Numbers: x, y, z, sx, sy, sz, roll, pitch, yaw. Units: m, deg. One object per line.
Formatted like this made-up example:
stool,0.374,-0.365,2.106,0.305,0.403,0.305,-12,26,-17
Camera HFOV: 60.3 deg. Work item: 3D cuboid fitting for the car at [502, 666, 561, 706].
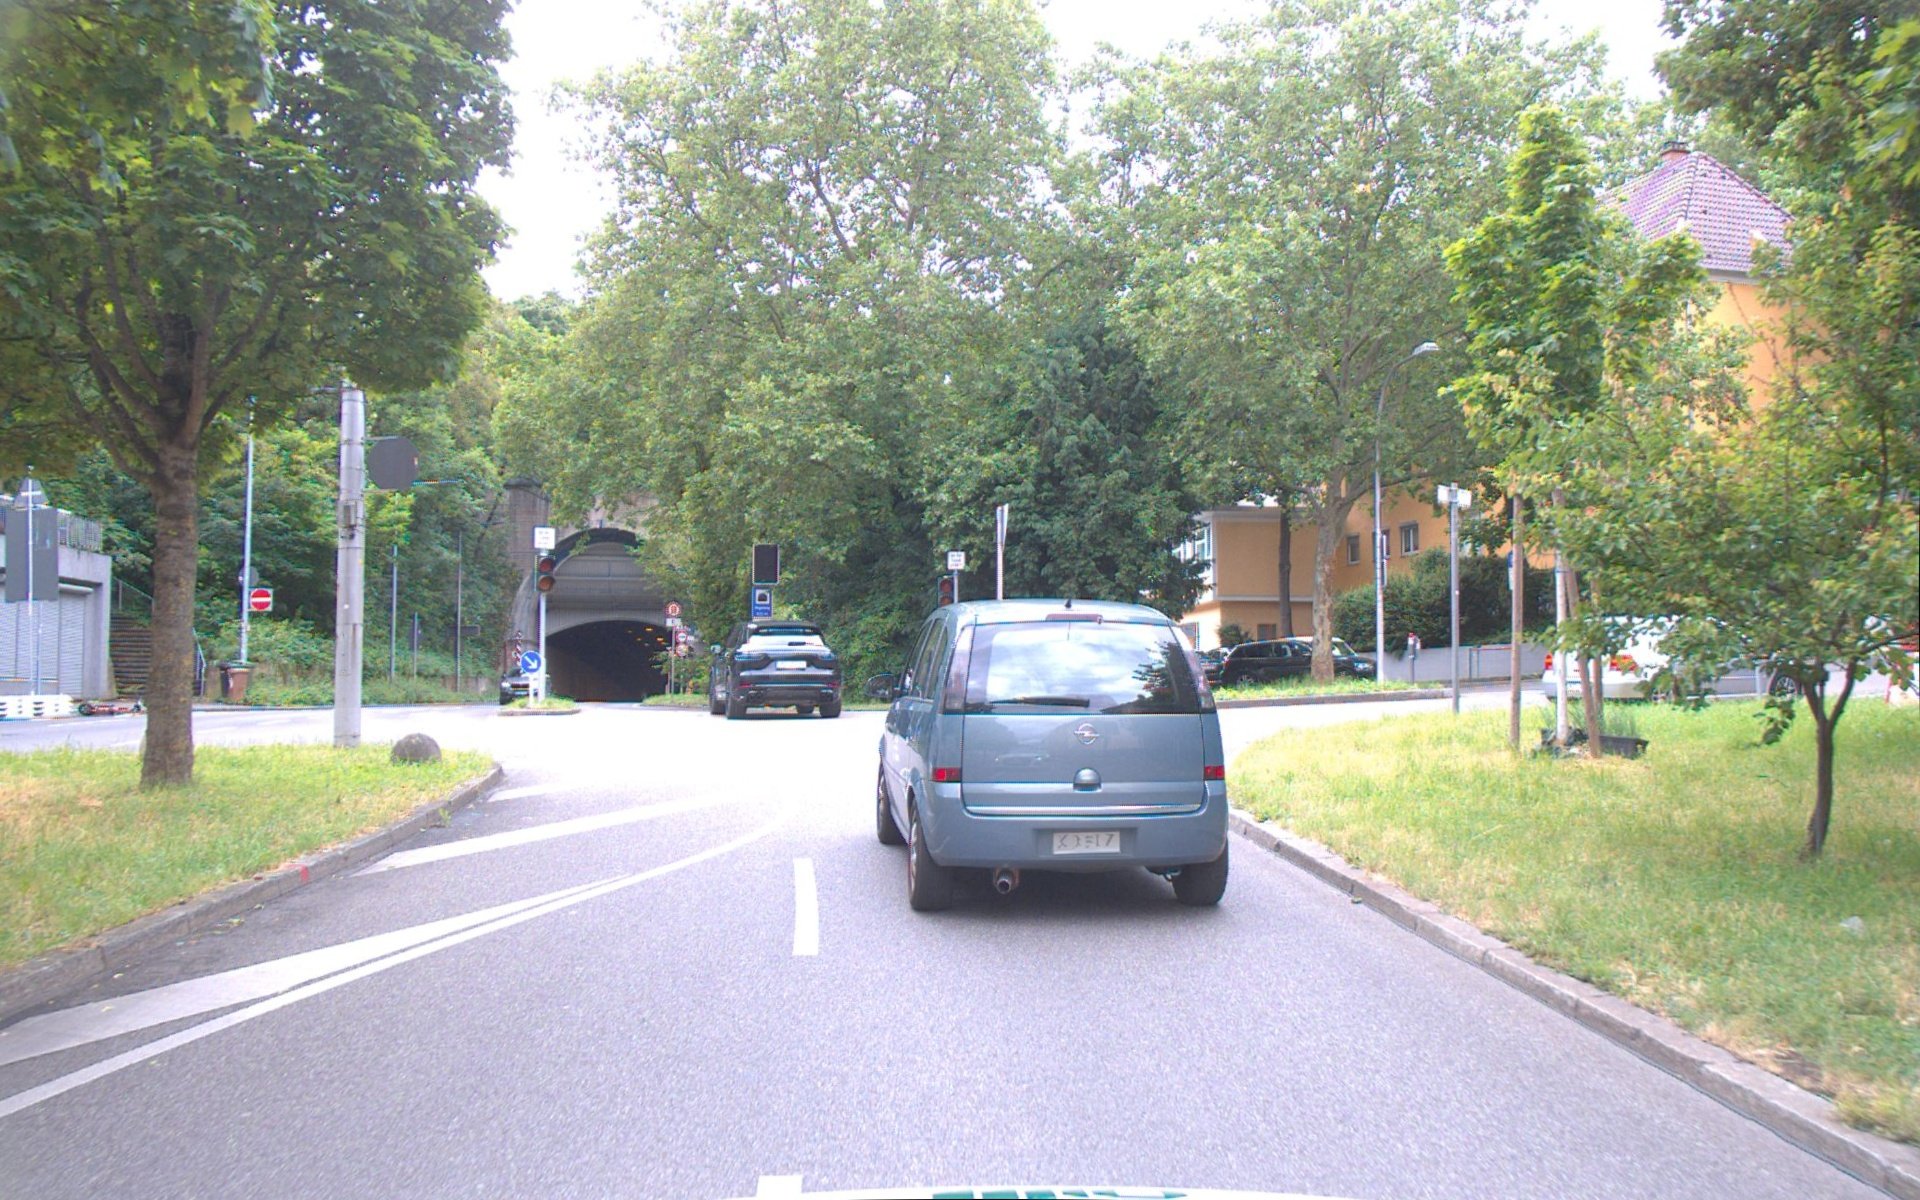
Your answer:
car,-19.199,3.878,74.337,1.834,1.729,4.928,0,-3,-6

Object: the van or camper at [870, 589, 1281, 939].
van or camper,0.468,0.786,9.717,1.702,1.605,3.640,-1,0,-7

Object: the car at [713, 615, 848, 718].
car,-3.262,1.148,29.434,1.959,1.682,3.987,-1,-1,-12

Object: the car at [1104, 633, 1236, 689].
car,6.602,1.968,52.589,1.966,1.606,4.869,0,-3,-23

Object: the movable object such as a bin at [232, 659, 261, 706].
movable object such as a bin,-19.114,2.208,44.296,0.595,1.206,0.489,4,-4,-19

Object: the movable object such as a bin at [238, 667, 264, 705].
movable object such as a bin,-19.651,2.379,45.835,0.547,1.043,0.428,4,-4,-19

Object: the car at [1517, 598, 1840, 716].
car,10.059,0.741,23.179,4.060,1.453,1.850,-1,0,-22

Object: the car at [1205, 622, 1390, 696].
car,8.890,1.556,43.669,4.328,1.511,1.860,-7,-3,29

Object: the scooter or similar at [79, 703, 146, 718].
scooter or similar,-18.093,2.358,35.335,1.106,0.293,1.093,-1,-3,-19

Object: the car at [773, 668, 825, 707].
car,-6.391,3.459,65.400,1.752,1.467,5.051,-1,-3,-9

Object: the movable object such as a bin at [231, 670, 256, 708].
movable object such as a bin,-18.950,2.352,43.728,0.508,0.984,0.442,4,-4,-19

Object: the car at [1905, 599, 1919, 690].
car,17.403,0.639,26.838,4.073,1.453,1.720,-1,-2,-30
